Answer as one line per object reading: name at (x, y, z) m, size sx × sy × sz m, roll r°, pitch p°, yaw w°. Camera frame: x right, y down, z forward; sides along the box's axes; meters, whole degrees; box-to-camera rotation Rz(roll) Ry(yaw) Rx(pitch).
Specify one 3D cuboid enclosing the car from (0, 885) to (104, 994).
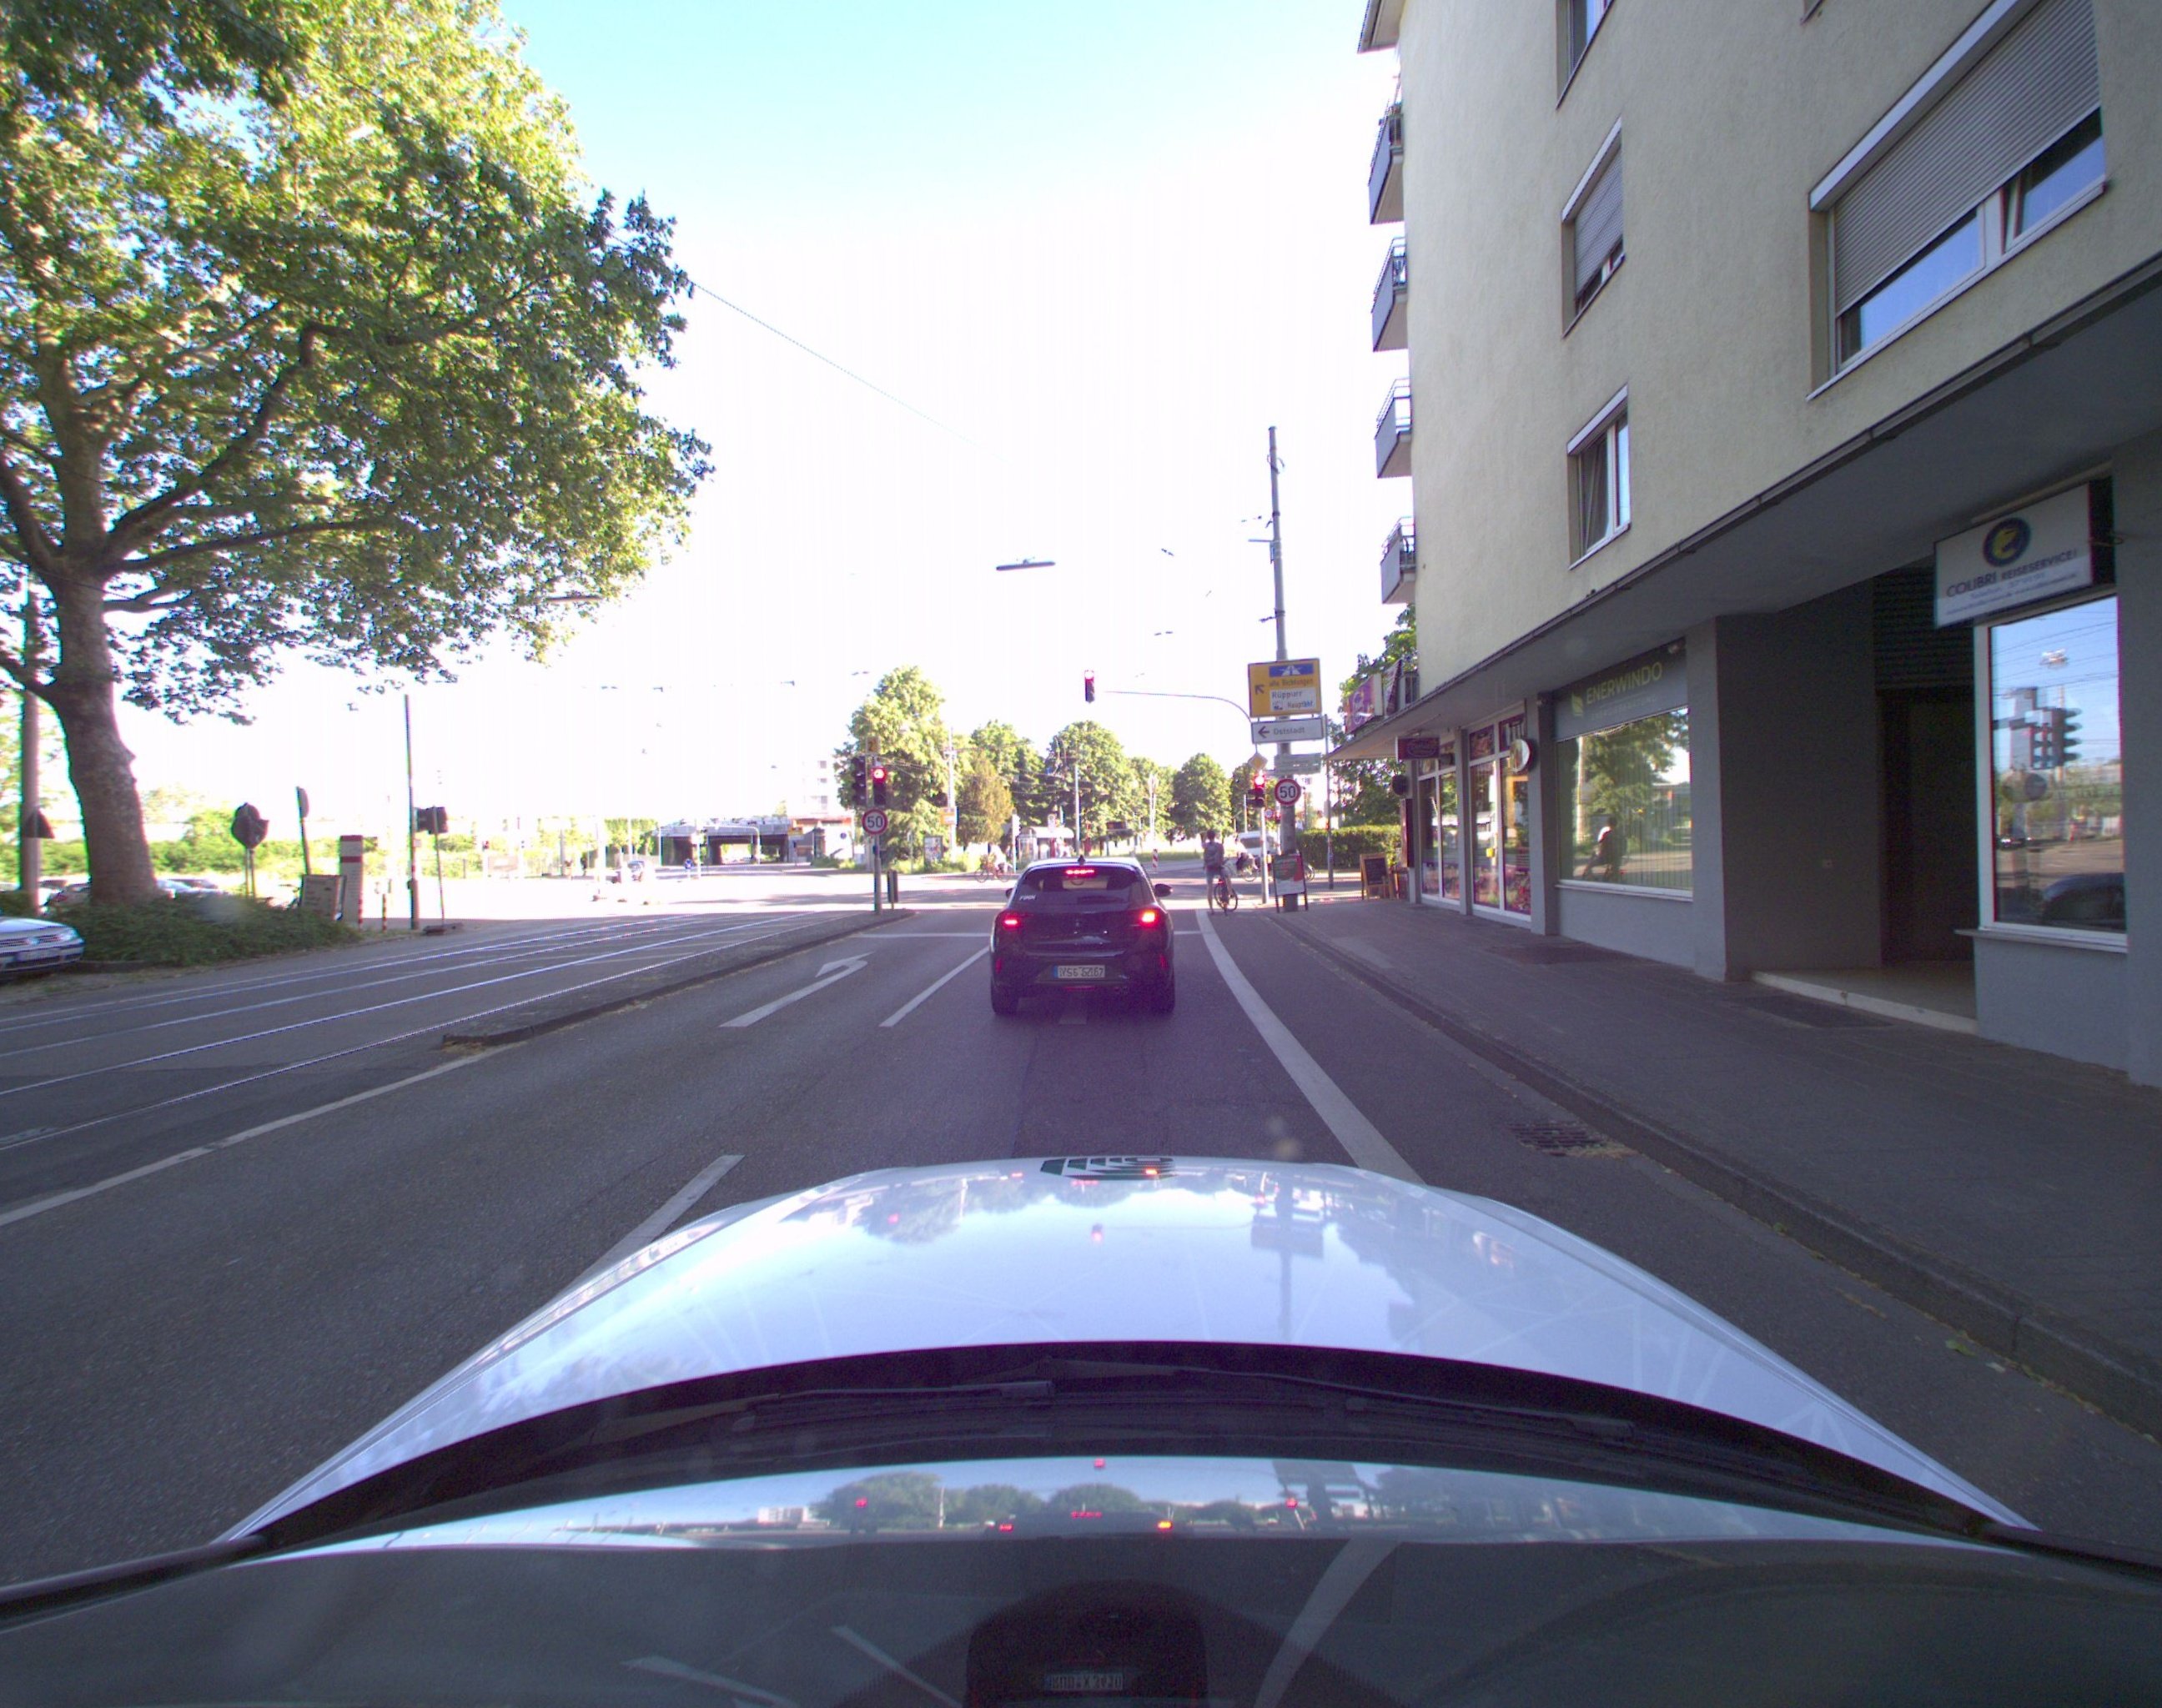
car at (-16.943, 1.203, 11.392) m, size 4.497 × 1.429 × 1.676 m, roll 0°, pitch 0°, yaw 0°

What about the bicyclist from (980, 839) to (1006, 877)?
bicyclist at (-4.062, 0.184, 37.705) m, size 0.920 × 1.707 × 0.878 m, roll -2°, pitch 0°, yaw 14°

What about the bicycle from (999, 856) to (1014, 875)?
bicycle at (-4.286, 0.647, 46.766) m, size 0.603 × 1.031 × 1.983 m, roll -2°, pitch 0°, yaw 2°

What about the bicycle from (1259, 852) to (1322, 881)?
bicycle at (8.041, 0.469, 31.271) m, size 2.192 × 1.033 × 0.831 m, roll -2°, pitch 0°, yaw -11°

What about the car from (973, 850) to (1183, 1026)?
car at (0.053, 0.689, 8.855) m, size 1.720 × 1.429 × 4.189 m, roll -1°, pitch 0°, yaw 2°

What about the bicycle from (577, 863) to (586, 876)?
bicycle at (-41.895, 1.323, 68.267) m, size 0.585 × 1.060 × 2.022 m, roll -2°, pitch 0°, yaw -30°

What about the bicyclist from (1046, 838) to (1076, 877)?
bicyclist at (-0.820, 0.126, 33.528) m, size 1.003 × 1.570 × 0.802 m, roll -2°, pitch 0°, yaw 13°

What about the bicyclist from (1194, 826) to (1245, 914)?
bicyclist at (3.028, 0.330, 17.876) m, size 0.938 × 1.851 × 0.864 m, roll -2°, pitch 0°, yaw 1°

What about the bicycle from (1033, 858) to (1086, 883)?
bicycle at (-0.874, 0.682, 33.554) m, size 2.044 × 0.984 × 0.675 m, roll -2°, pitch 0°, yaw 12°

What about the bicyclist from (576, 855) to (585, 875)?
bicyclist at (-41.931, 0.920, 68.237) m, size 0.639 × 1.563 × 0.825 m, roll -2°, pitch 0°, yaw -31°

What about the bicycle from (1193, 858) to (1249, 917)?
bicycle at (3.044, 0.693, 17.931) m, size 0.857 × 1.153 × 2.172 m, roll -2°, pitch 0°, yaw 1°

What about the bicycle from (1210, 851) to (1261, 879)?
bicycle at (6.479, 0.468, 34.162) m, size 2.039 × 1.094 × 0.595 m, roll -2°, pitch 0°, yaw 15°

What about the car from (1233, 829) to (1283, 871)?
car at (10.164, -0.255, 46.408) m, size 2.046 × 2.248 × 4.912 m, roll -2°, pitch 0°, yaw 20°

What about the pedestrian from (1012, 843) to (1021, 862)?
pedestrian at (-5.463, -0.144, 69.244) m, size 0.633 × 1.629 × 0.573 m, roll 0°, pitch -1°, yaw 9°

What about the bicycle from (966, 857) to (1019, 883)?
bicycle at (-4.105, 0.742, 37.701) m, size 2.276 × 1.084 × 0.804 m, roll -2°, pitch 0°, yaw 14°

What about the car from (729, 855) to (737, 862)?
car at (-101.069, 1.267, 236.403) m, size 2.223 × 1.823 × 4.114 m, roll -2°, pitch 0°, yaw -24°

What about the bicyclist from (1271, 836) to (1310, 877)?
bicyclist at (8.046, 0.092, 31.266) m, size 1.113 × 1.520 × 0.918 m, roll -2°, pitch 0°, yaw -11°

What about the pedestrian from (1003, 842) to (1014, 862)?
pedestrian at (-6.167, -0.171, 69.358) m, size 0.746 × 1.629 × 0.599 m, roll 0°, pitch -1°, yaw 8°

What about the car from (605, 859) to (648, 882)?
car at (-31.265, 1.106, 56.134) m, size 1.830 × 1.519 × 3.870 m, roll 0°, pitch 0°, yaw -18°

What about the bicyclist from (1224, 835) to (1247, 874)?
bicyclist at (6.475, 0.031, 34.173) m, size 0.855 × 1.595 × 0.652 m, roll -2°, pitch 0°, yaw 15°
